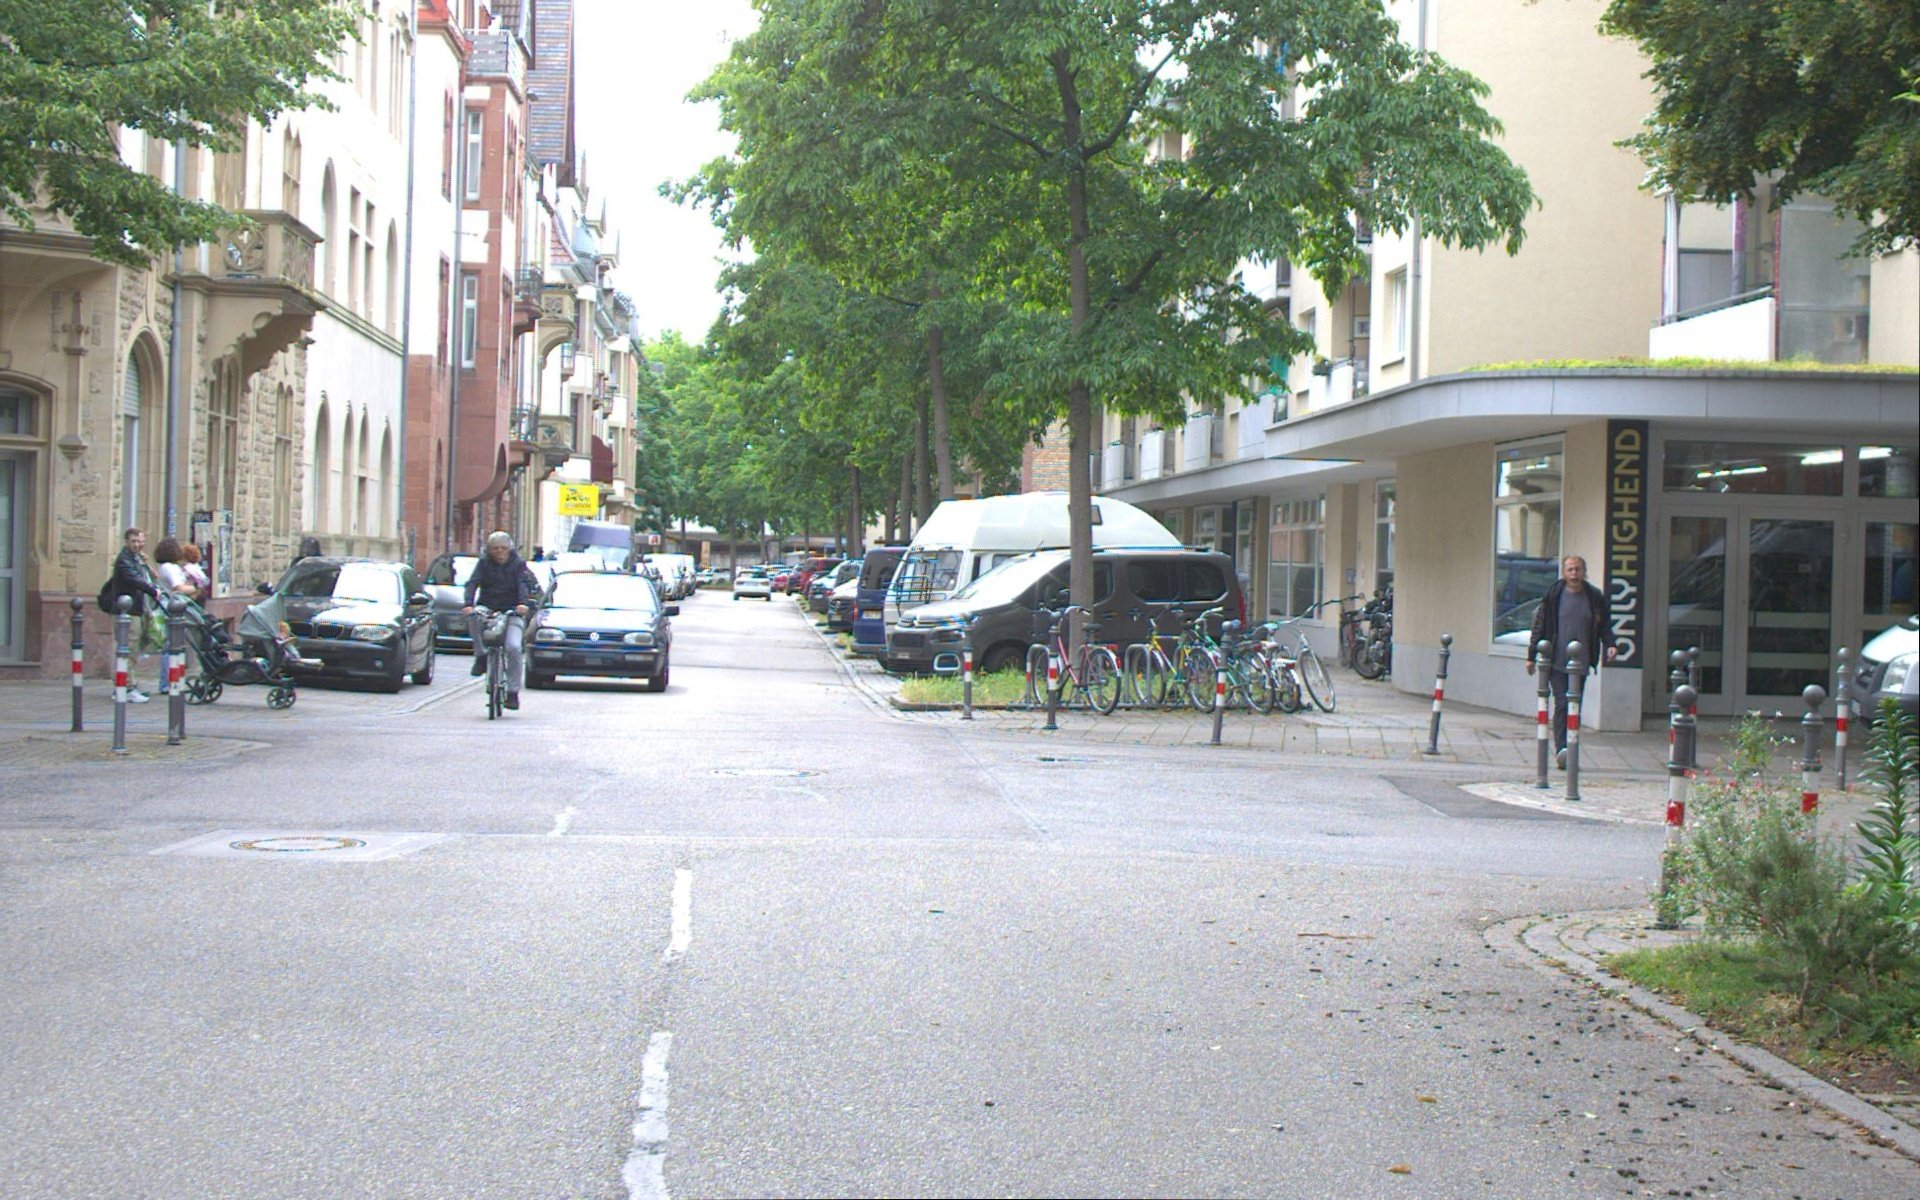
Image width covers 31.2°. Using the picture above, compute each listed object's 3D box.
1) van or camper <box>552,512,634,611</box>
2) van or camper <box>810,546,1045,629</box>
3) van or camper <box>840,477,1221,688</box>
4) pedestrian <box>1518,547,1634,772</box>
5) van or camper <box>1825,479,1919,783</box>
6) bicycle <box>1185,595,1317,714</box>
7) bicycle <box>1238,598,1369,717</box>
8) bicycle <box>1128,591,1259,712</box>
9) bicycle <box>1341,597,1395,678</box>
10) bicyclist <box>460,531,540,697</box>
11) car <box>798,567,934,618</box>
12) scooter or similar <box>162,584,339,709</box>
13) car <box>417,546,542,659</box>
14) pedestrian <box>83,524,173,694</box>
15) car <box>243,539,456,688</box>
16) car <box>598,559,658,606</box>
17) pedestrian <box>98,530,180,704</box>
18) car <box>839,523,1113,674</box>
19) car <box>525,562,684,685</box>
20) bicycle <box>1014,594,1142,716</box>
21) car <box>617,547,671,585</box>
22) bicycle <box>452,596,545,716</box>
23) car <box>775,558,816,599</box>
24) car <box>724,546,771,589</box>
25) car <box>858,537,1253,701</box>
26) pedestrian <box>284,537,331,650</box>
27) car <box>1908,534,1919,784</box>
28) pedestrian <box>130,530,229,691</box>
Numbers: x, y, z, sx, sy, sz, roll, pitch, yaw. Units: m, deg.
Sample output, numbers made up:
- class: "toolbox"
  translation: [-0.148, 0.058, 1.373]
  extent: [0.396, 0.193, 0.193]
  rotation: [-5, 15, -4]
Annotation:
- class: "van or camper"
  translation: [-10.560, -1.142, 99.174]
  extent: [2.008, 2.642, 5.317]
  rotation: [1, 2, -3]
- class: "van or camper"
  translation: [-0.737, -0.300, 79.103]
  extent: [5.005, 1.863, 2.127]
  rotation: [0, 0, -30]
- class: "van or camper"
  translation: [0.935, -0.203, 44.166]
  extent: [4.582, 2.587, 1.911]
  rotation: [1, 1, -35]
- class: "pedestrian"
  translation: [5.026, 0.477, 28.083]
  extent: [0.779, 1.791, 0.509]
  rotation: [2, 1, -1]
- class: "van or camper"
  translation: [10.630, 0.295, 29.678]
  extent: [5.772, 2.485, 2.136]
  rotation: [1, 4, 5]
- class: "bicycle"
  translation: [3.001, 0.553, 35.617]
  extent: [0.548, 1.169, 1.729]
  rotation: [1, 1, -25]
- class: "bicycle"
  translation: [3.582, 0.588, 35.949]
  extent: [0.548, 1.169, 1.698]
  rotation: [1, 1, -25]
- class: "bicycle"
  translation: [2.385, 0.517, 35.280]
  extent: [0.548, 1.169, 1.729]
  rotation: [1, 1, -25]
- class: "bicycle"
  translation: [5.698, 0.508, 48.077]
  extent: [0.484, 1.086, 1.701]
  rotation: [1, 0, -1]
- class: "bicyclist"
  translation: [-4.325, 0.127, 32.361]
  extent: [0.647, 1.533, 0.677]
  rotation: [1, 0, -1]
- class: "car"
  translation: [-3.057, -0.243, 112.354]
  extent: [4.010, 1.554, 1.884]
  rotation: [1, 0, -34]
- class: "scooter or similar"
  translation: [-6.869, 0.447, 33.307]
  extent: [1.469, 1.100, 0.675]
  rotation: [4, 1, 9]
- class: "car"
  translation: [-7.402, 0.017, 53.138]
  extent: [1.646, 1.565, 2.957]
  rotation: [3, 1, -4]
- class: "pedestrian"
  translation: [-8.165, 0.086, 33.757]
  extent: [0.616, 1.638, 0.603]
  rotation: [2, 1, 9]
- class: "car"
  translation: [-6.746, 0.164, 38.333]
  extent: [1.709, 1.489, 4.000]
  rotation: [3, -1, -2]
- class: "car"
  translation: [-11.116, -0.584, 115.299]
  extent: [1.789, 1.475, 4.023]
  rotation: [3, 0, -4]
- class: "pedestrian"
  translation: [-7.918, 0.164, 33.158]
  extent: [0.528, 1.638, 0.528]
  rotation: [3, 0, 9]
- class: "car"
  translation: [0.295, -0.027, 53.046]
  extent: [2.064, 2.189, 4.390]
  rotation: [2, 1, 34]
- class: "car"
  translation: [-4.296, 0.289, 41.947]
  extent: [1.708, 1.408, 3.853]
  rotation: [1, -1, -3]
- class: "bicycle"
  translation: [1.186, 0.544, 34.786]
  extent: [0.548, 1.169, 1.729]
  rotation: [1, 1, -25]
- class: "car"
  translation: [-12.729, -1.374, 138.454]
  extent: [1.993, 1.470, 4.001]
  rotation: [2, 1, -3]
- class: "bicycle"
  translation: [-4.339, 0.512, 32.406]
  extent: [0.634, 1.090, 1.799]
  rotation: [1, 0, -1]
- class: "car"
  translation: [-8.749, -1.175, 182.621]
  extent: [1.993, 2.007, 4.001]
  rotation: [4, 0, -4]
- class: "car"
  translation: [-9.665, -1.463, 156.641]
  extent: [1.993, 1.788, 4.000]
  rotation: [3, -1, -2]
- class: "car"
  translation: [1.158, 0.232, 41.330]
  extent: [4.331, 1.848, 1.911]
  rotation: [1, 1, -28]
- class: "pedestrian"
  translation: [-8.885, -0.092, 46.827]
  extent: [0.515, 1.513, 0.546]
  rotation: [1, 0, -3]
- class: "car"
  translation: [7.874, 0.471, 23.164]
  extent: [1.770, 1.813, 4.000]
  rotation: [2, 1, -1]
- class: "pedestrian"
  translation: [-7.845, 0.104, 34.562]
  extent: [0.631, 1.588, 0.668]
  rotation: [3, 1, 38]
